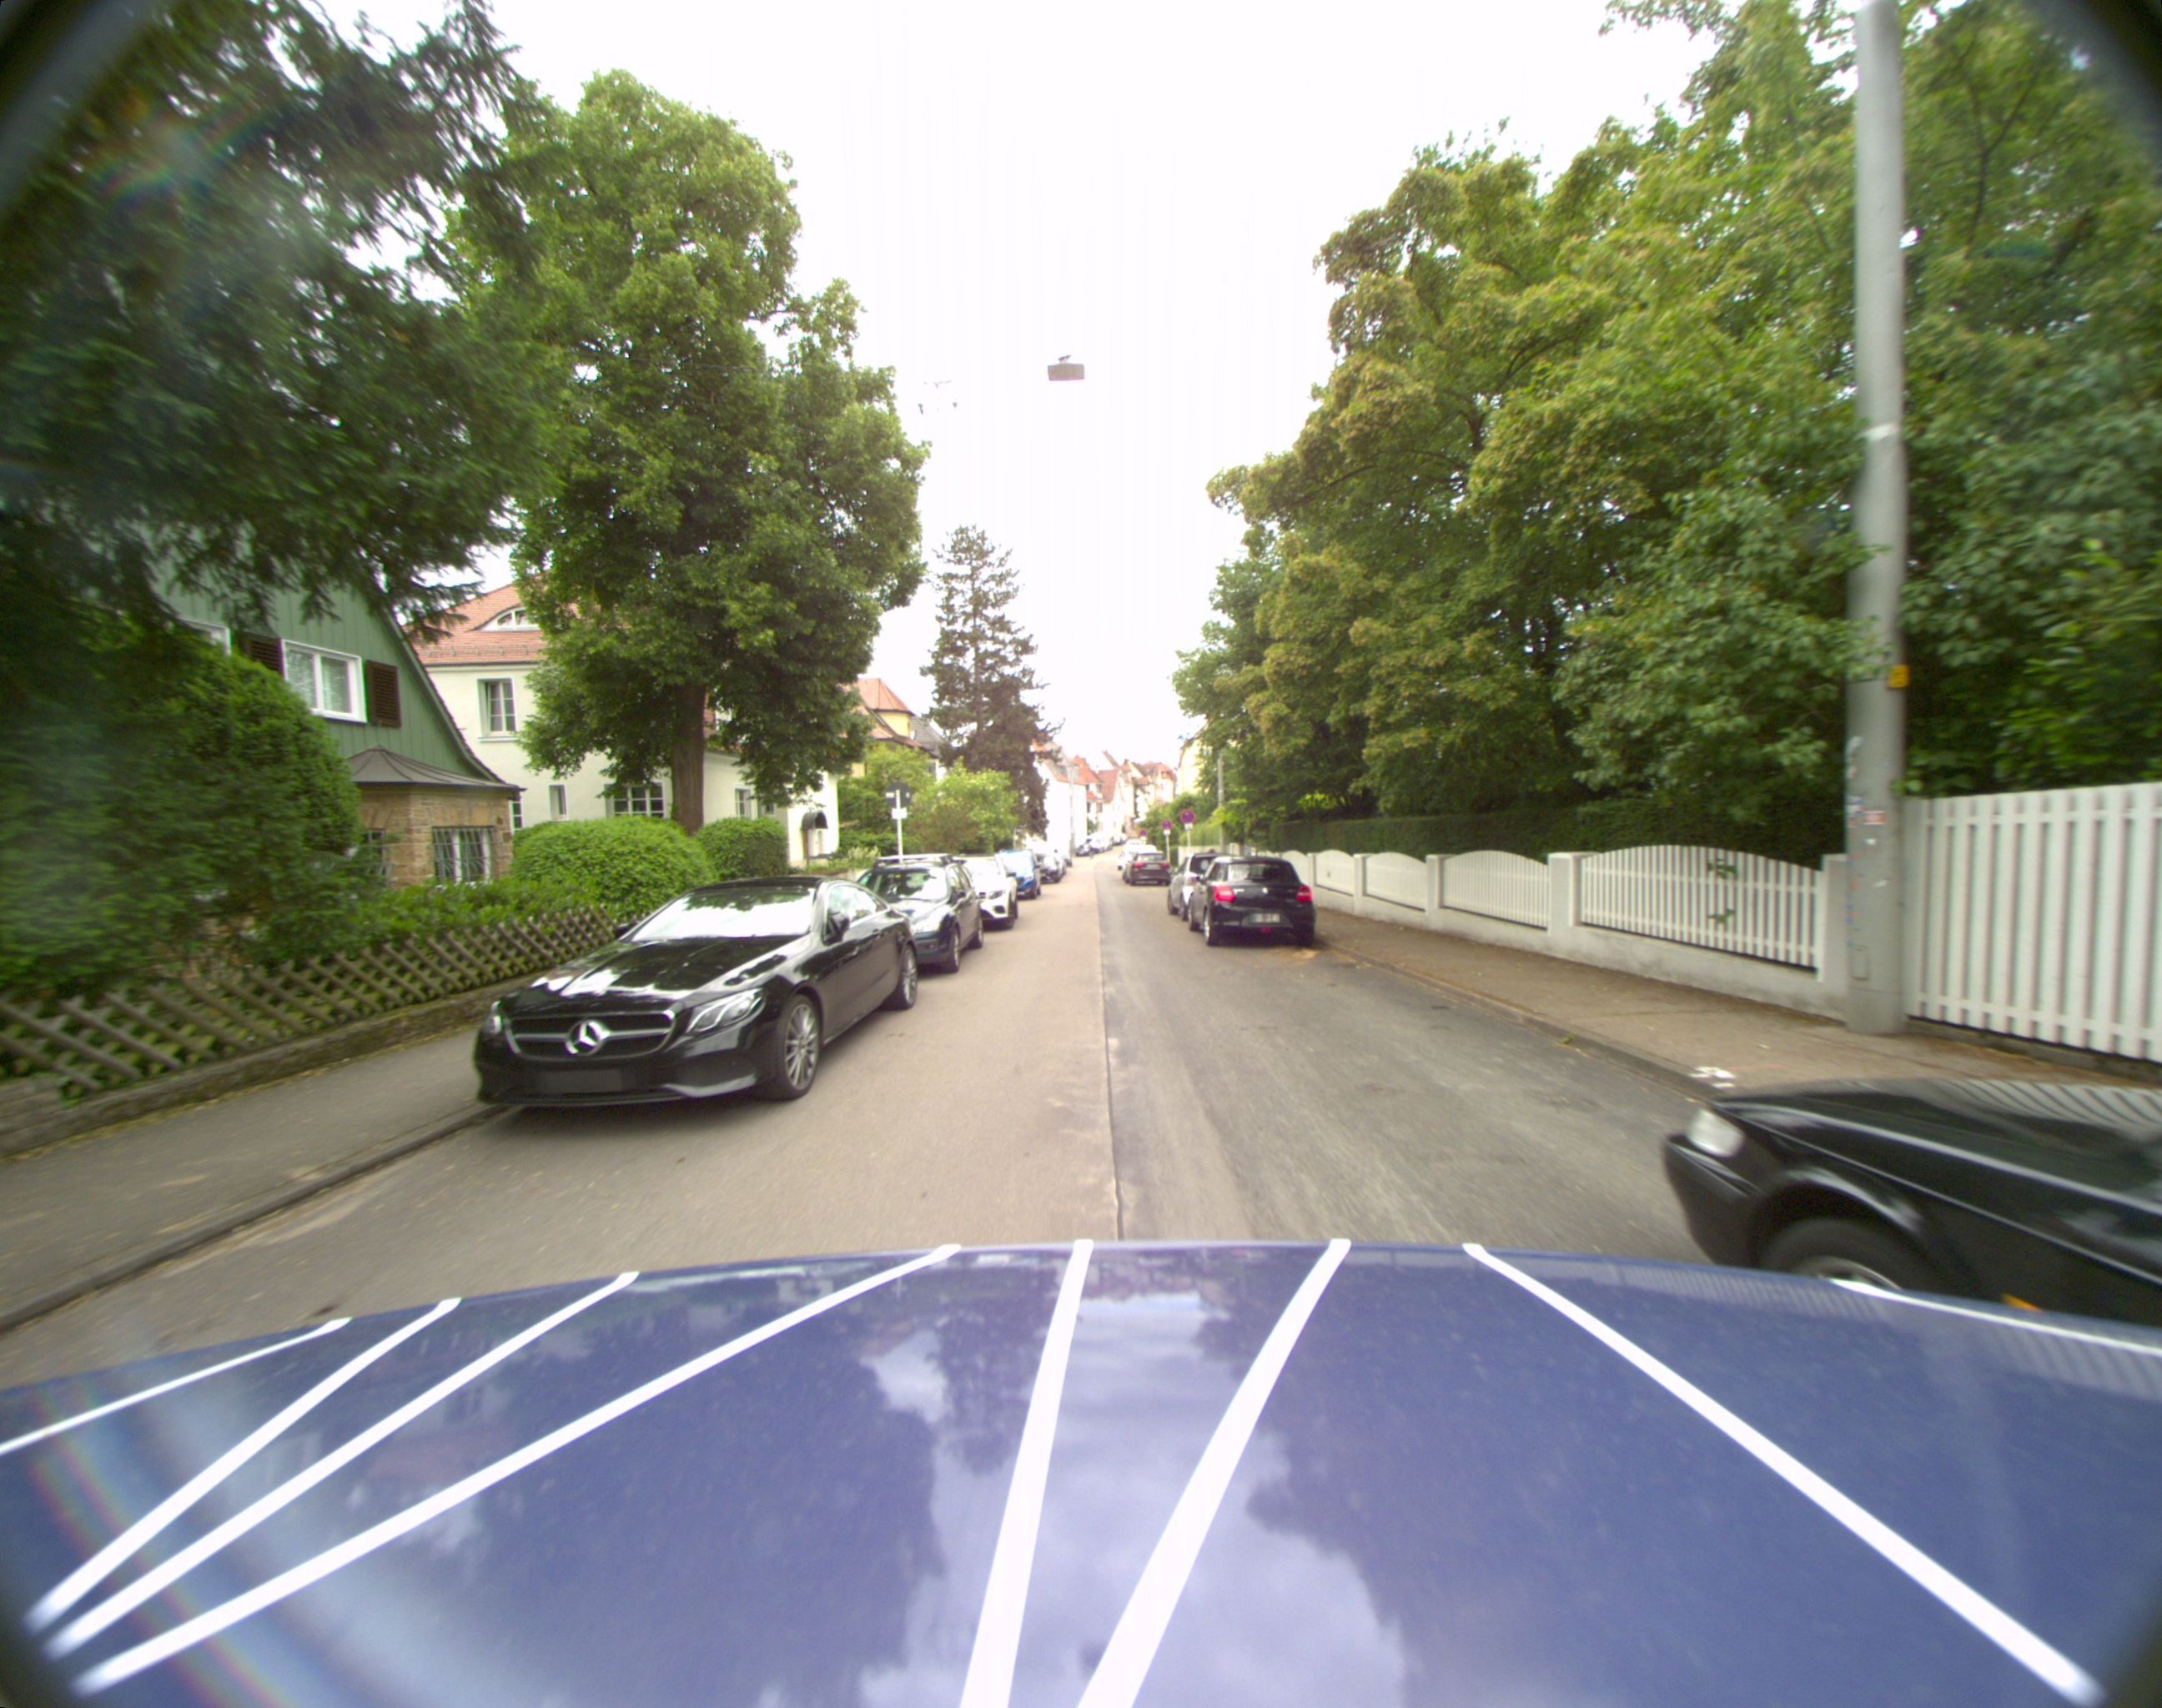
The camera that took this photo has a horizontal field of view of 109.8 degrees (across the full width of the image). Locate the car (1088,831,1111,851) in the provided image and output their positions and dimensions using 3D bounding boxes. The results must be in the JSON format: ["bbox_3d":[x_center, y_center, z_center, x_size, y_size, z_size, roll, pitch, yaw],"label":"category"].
[{"bbox_3d":[2.487,-1.799,102.484,1.996,2.410,5.294,-1,4,13],"label":"car"}]

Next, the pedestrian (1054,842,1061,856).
[{"bbox_3d":[-2.718,-0.544,87.520,0.682,1.568,0.906,1,3,7],"label":"pedestrian"}]

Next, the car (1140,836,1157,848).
[{"bbox_3d":[9.861,-1.767,110.620,1.805,1.472,4.329,-1,4,12],"label":"car"}]

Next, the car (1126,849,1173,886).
[{"bbox_3d":[3.209,0.587,36.271,1.795,1.614,4.342,0,1,-1],"label":"car"}]

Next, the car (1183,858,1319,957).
[{"bbox_3d":[2.900,0.843,13.752,1.659,1.472,3.888,1,0,2],"label":"car"}]

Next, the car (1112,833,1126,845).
[{"bbox_3d":[5.979,-2.391,119.033,1.607,1.482,4.023,-2,4,12],"label":"car"}]

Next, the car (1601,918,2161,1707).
[{"bbox_3d":[2.579,0.963,0.414,1.644,1.414,4.550,1,1,3],"label":"car"}]

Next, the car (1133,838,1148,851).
[{"bbox_3d":[7.996,-1.287,101.969,1.609,1.446,3.615,2,4,12],"label":"car"}]

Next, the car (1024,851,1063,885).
[{"bbox_3d":[-2.035,0.742,42.220,1.754,1.599,4.075,-4,1,1],"label":"car"}]

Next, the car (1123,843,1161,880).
[{"bbox_3d":[3.352,0.360,42.517,1.859,1.902,4.619,1,1,1],"label":"car"}]

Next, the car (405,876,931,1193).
[{"bbox_3d":[-2.624,1.020,6.305,1.656,1.415,4.660,-3,0,1],"label":"car"}]

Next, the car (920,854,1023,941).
[{"bbox_3d":[-2.334,0.859,17.283,1.762,1.596,4.573,-3,1,-2],"label":"car"}]

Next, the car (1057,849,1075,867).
[{"bbox_3d":[-1.388,0.370,72.342,1.576,1.523,2.867,-4,1,-1],"label":"car"}]

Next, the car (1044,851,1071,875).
[{"bbox_3d":[-1.660,0.624,54.647,1.651,1.450,4.051,-3,1,1],"label":"car"}]

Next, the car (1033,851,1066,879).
[{"bbox_3d":[-1.968,0.658,48.605,1.789,1.594,4.303,-4,1,0],"label":"car"}]

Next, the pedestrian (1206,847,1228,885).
[{"bbox_3d":[5.779,0.483,32.342,0.610,1.538,0.797,-7,1,1],"label":"pedestrian"}]

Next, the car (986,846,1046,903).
[{"bbox_3d":[-2.316,0.695,27.971,1.687,1.818,4.156,-4,0,1],"label":"car"}]

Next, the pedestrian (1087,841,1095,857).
[{"bbox_3d":[1.177,-0.551,87.267,0.822,1.750,0.644,-4,2,0],"label":"pedestrian"}]

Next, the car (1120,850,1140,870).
[{"bbox_3d":[4.003,0.449,61.801,1.445,1.543,2.771,2,1,8],"label":"car"}]

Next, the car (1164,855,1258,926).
[{"bbox_3d":[3.011,0.800,18.141,1.626,1.524,2.961,0,0,-2],"label":"car"}]

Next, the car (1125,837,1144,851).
[{"bbox_3d":[6.869,-1.270,97.312,1.807,1.650,4.153,2,3,12],"label":"car"}]

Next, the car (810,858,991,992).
[{"bbox_3d":[-2.475,0.885,11.499,1.702,1.561,4.308,-1,1,-1],"label":"car"}]

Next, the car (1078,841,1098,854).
[{"bbox_3d":[0.897,-0.822,95.890,1.821,1.478,4.288,-1,3,11],"label":"car"}]

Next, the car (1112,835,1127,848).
[{"bbox_3d":[6.049,-1.975,119.026,1.779,1.711,4.001,-2,2,11],"label":"car"}]
